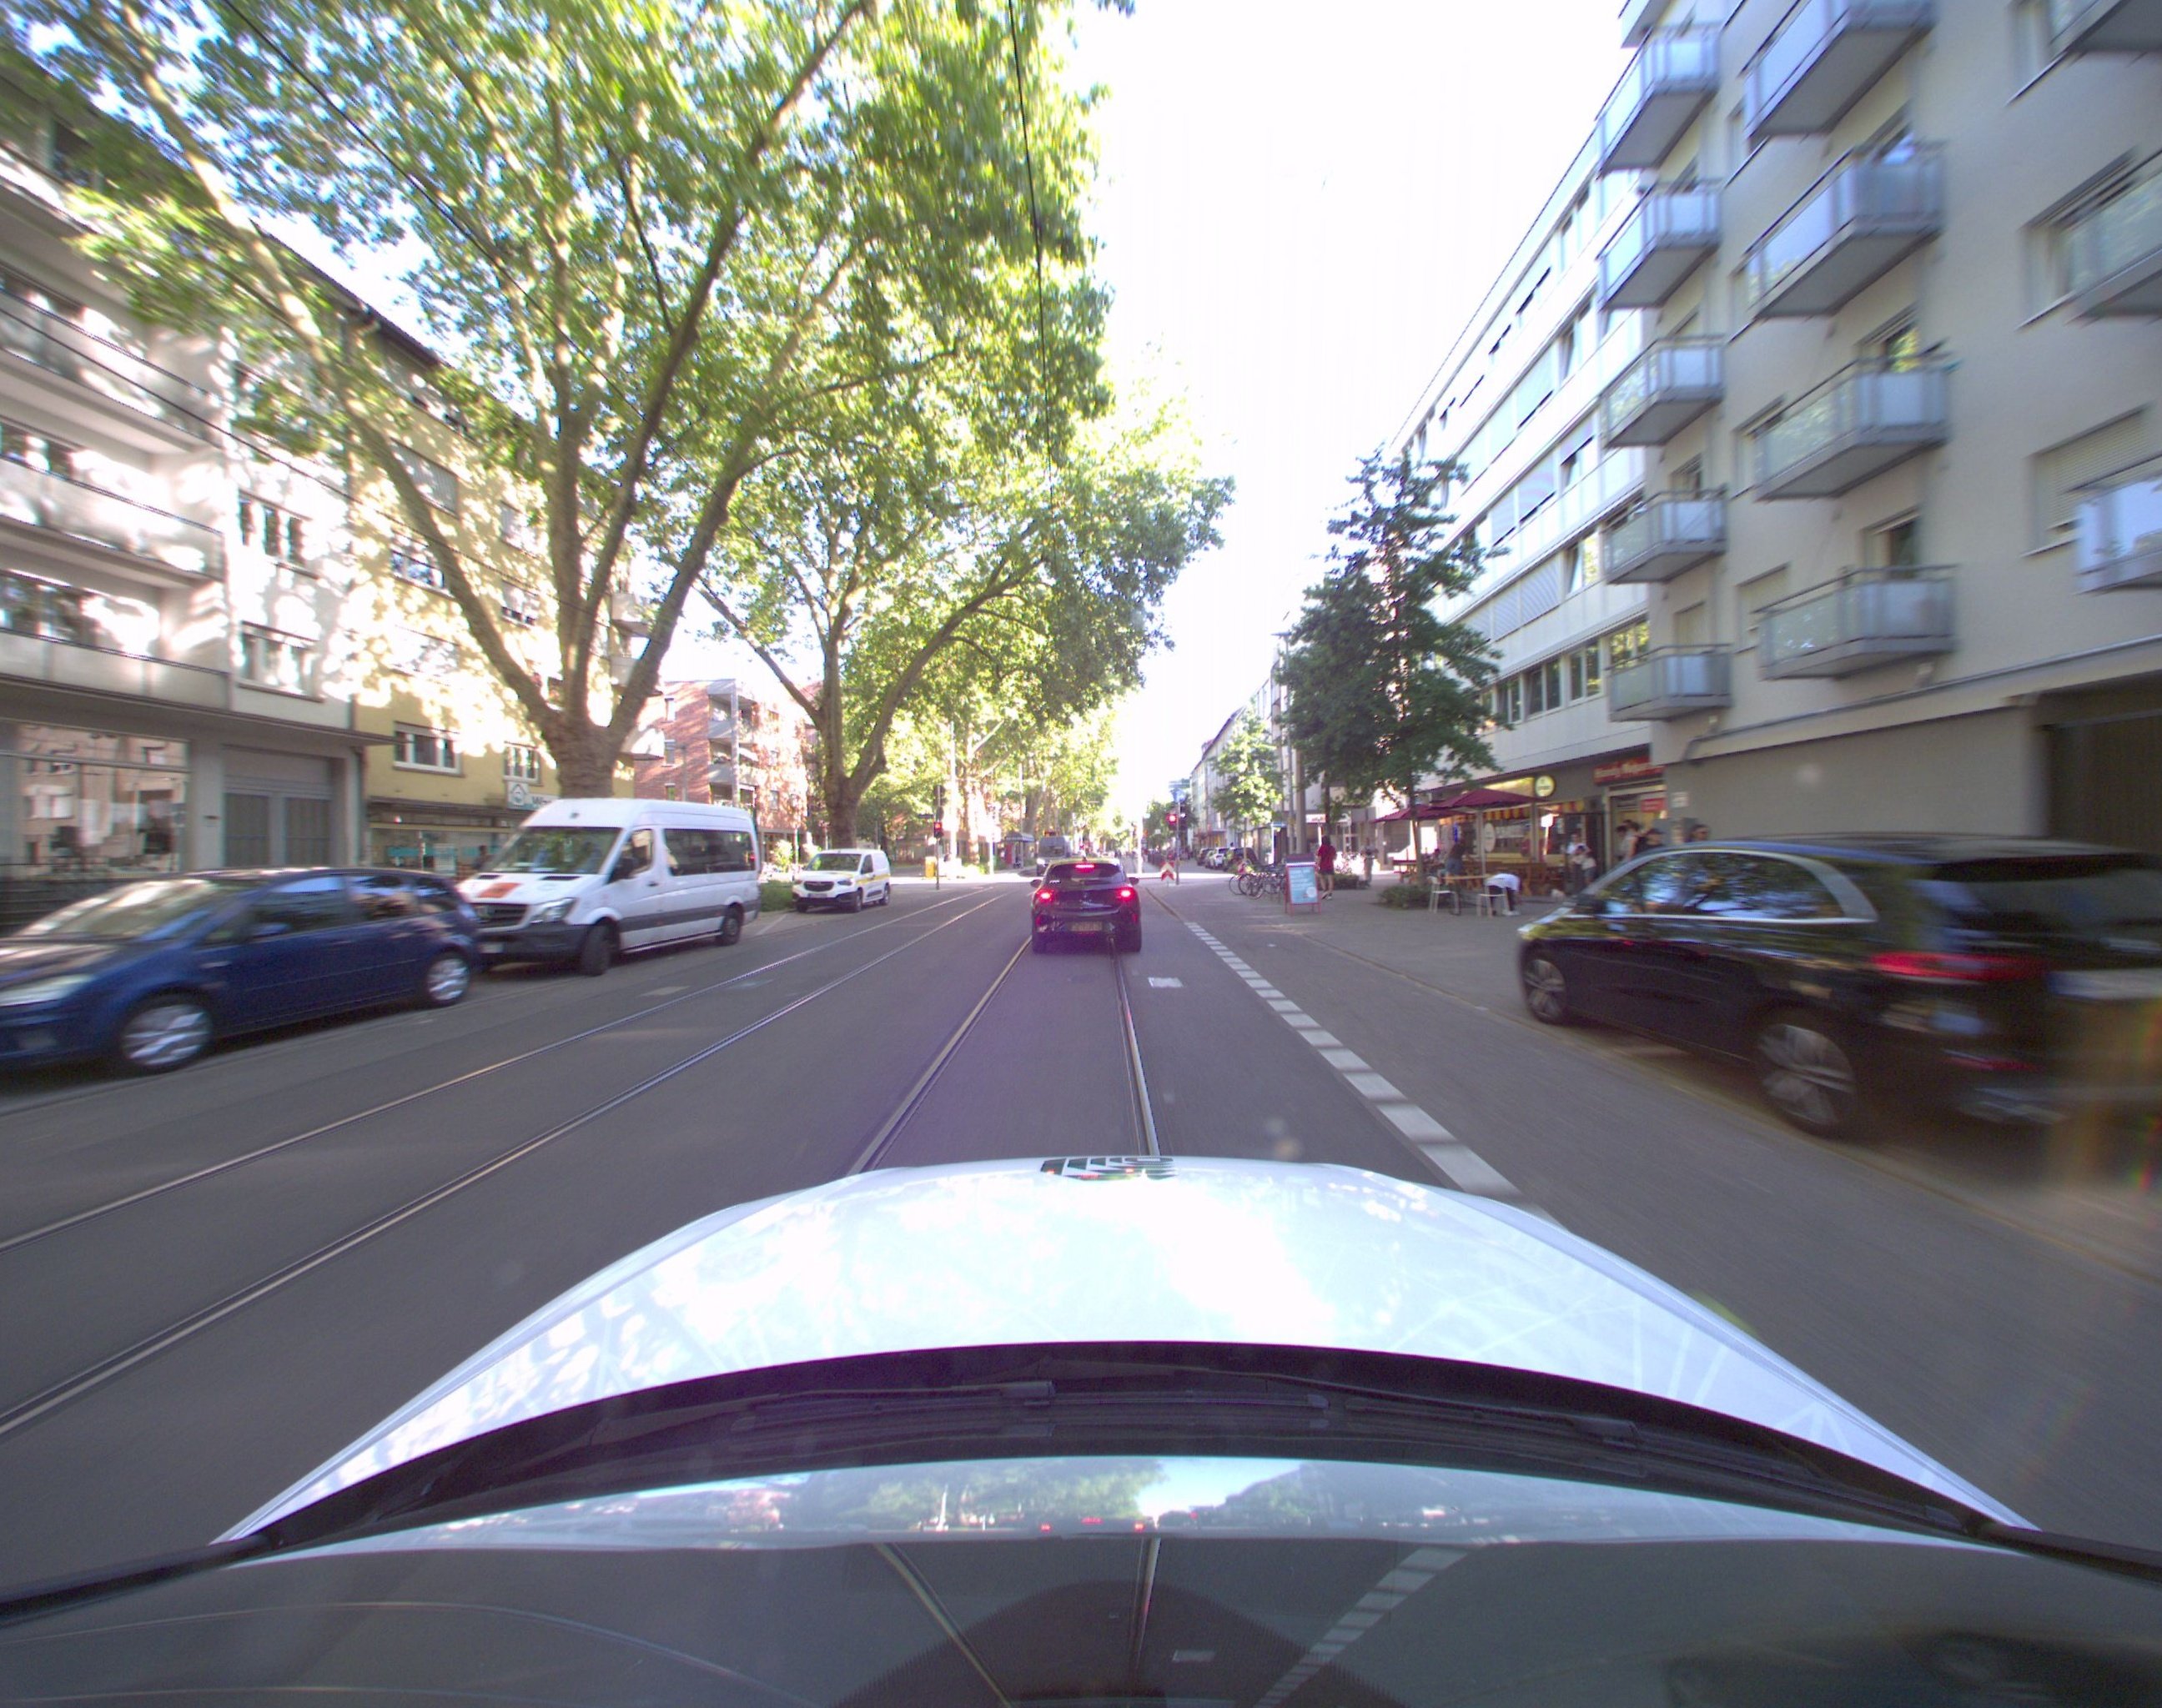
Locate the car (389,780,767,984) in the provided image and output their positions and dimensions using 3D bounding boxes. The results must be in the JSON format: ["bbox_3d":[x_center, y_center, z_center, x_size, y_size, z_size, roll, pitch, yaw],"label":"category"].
[{"bbox_3d":[-7.574,0.369,13.360,2.098,2.577,6.030,-1,0,4],"label":"car"}]

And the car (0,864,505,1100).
[{"bbox_3d":[-7.975,0.898,7.678,1.909,1.562,4.286,-1,0,2],"label":"car"}]

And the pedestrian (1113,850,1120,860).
[{"bbox_3d":[6.272,0.230,145.100,1.161,1.748,0.957,0,0,-2],"label":"pedestrian"}]

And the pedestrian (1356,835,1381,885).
[{"bbox_3d":[10.448,0.210,29.612,0.588,1.784,0.995,0,0,2],"label":"pedestrian"}]

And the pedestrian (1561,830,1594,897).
[{"bbox_3d":[12.254,0.233,20.115,0.510,1.628,0.512,0,-1,-35],"label":"pedestrian"}]

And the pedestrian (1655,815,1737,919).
[{"bbox_3d":[10.457,0.216,13.878,0.594,1.678,0.935,-4,-1,1],"label":"pedestrian"}]

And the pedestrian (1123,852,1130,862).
[{"bbox_3d":[8.070,0.500,145.247,1.161,1.748,0.957,0,0,-2],"label":"pedestrian"}]

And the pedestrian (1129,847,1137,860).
[{"bbox_3d":[7.079,-0.051,110.687,0.742,1.709,0.768,-1,-1,38],"label":"pedestrian"}]

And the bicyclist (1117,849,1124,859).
[{"bbox_3d":[7.172,0.038,147.709,1.161,1.748,0.957,0,0,-2],"label":"bicyclist"}]

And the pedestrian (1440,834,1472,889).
[{"bbox_3d":[11.526,0.235,25.050,0.670,1.659,0.819,-1,-1,42],"label":"pedestrian"}]

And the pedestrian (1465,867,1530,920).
[{"bbox_3d":[8.360,0.782,16.363,1.001,1.027,0.657,0,0,-18],"label":"pedestrian"}]

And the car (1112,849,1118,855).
[{"bbox_3d":[9.459,-0.509,228.542,1.739,1.544,4.001,0,0,2],"label":"car"}]

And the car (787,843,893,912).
[{"bbox_3d":[-7.042,0.648,24.284,1.756,1.850,4.319,0,0,1],"label":"car"}]

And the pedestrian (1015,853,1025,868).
[{"bbox_3d":[-4.931,0.506,66.103,0.703,1.168,0.659,-2,0,0],"label":"pedestrian"}]

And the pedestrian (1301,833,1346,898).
[{"bbox_3d":[6.714,0.309,22.559,0.867,1.758,1.054,-1,-1,36],"label":"pedestrian"}]

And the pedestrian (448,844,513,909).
[{"bbox_3d":[-17.673,0.657,23.991,1.103,1.864,1.058,0,0,0],"label":"pedestrian"}]

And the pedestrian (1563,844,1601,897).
[{"bbox_3d":[12.322,0.403,20.025,0.511,1.276,0.620,0,-1,-34],"label":"pedestrian"}]

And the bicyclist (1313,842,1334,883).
[{"bbox_3d":[10.284,0.360,34.510,0.673,1.717,0.966,-1,0,5],"label":"bicyclist"}]

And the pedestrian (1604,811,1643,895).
[{"bbox_3d":[12.945,-0.021,19.464,0.502,1.954,0.795,-1,-1,12],"label":"pedestrian"}]

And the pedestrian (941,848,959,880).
[{"bbox_3d":[-7.766,0.569,48.234,0.921,1.835,0.920,0,2,-1],"label":"pedestrian"}]

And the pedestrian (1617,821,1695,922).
[{"bbox_3d":[9.763,0.291,13.865,0.639,1.637,0.870,-3,0,1],"label":"pedestrian"}]

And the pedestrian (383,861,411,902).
[{"bbox_3d":[-18.500,0.740,22.031,0.419,1.106,0.437,0,-1,-7],"label":"pedestrian"}]

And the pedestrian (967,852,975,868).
[{"bbox_3d":[-11.453,0.587,84.880,0.732,1.672,0.861,-1,0,3],"label":"pedestrian"}]

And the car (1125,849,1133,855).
[{"bbox_3d":[12.588,-0.590,213.791,1.739,1.544,4.001,0,0,2],"label":"car"}]

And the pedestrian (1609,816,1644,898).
[{"bbox_3d":[12.414,0.068,18.519,0.635,1.805,0.520,0,-1,-44],"label":"pedestrian"}]

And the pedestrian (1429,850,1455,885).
[{"bbox_3d":[12.178,0.458,27.486,0.656,1.175,0.522,0,-1,1],"label":"pedestrian"}]

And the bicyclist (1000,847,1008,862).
[{"bbox_3d":[-9.374,0.091,99.313,0.772,1.750,0.998,0,0,1],"label":"bicyclist"}]

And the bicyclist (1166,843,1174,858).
[{"bbox_3d":[11.128,-0.433,101.761,0.859,1.759,1.052,0,0,-3],"label":"bicyclist"}]

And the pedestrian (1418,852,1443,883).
[{"bbox_3d":[12.265,0.485,28.601,0.639,1.079,0.522,0,-1,1],"label":"pedestrian"}]

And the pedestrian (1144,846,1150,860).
[{"bbox_3d":[7.407,-0.124,91.656,0.628,1.576,0.871,1,0,3],"label":"pedestrian"}]

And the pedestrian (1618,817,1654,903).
[{"bbox_3d":[11.789,0.117,17.302,0.430,1.796,0.489,0,-1,2],"label":"pedestrian"}]

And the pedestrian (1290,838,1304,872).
[{"bbox_3d":[9.954,0.043,37.555,0.548,1.562,0.646,-1,-1,7],"label":"pedestrian"}]

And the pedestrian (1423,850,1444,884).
[{"bbox_3d":[13.629,0.495,31.486,0.533,1.287,0.716,-1,0,4],"label":"pedestrian"}]
